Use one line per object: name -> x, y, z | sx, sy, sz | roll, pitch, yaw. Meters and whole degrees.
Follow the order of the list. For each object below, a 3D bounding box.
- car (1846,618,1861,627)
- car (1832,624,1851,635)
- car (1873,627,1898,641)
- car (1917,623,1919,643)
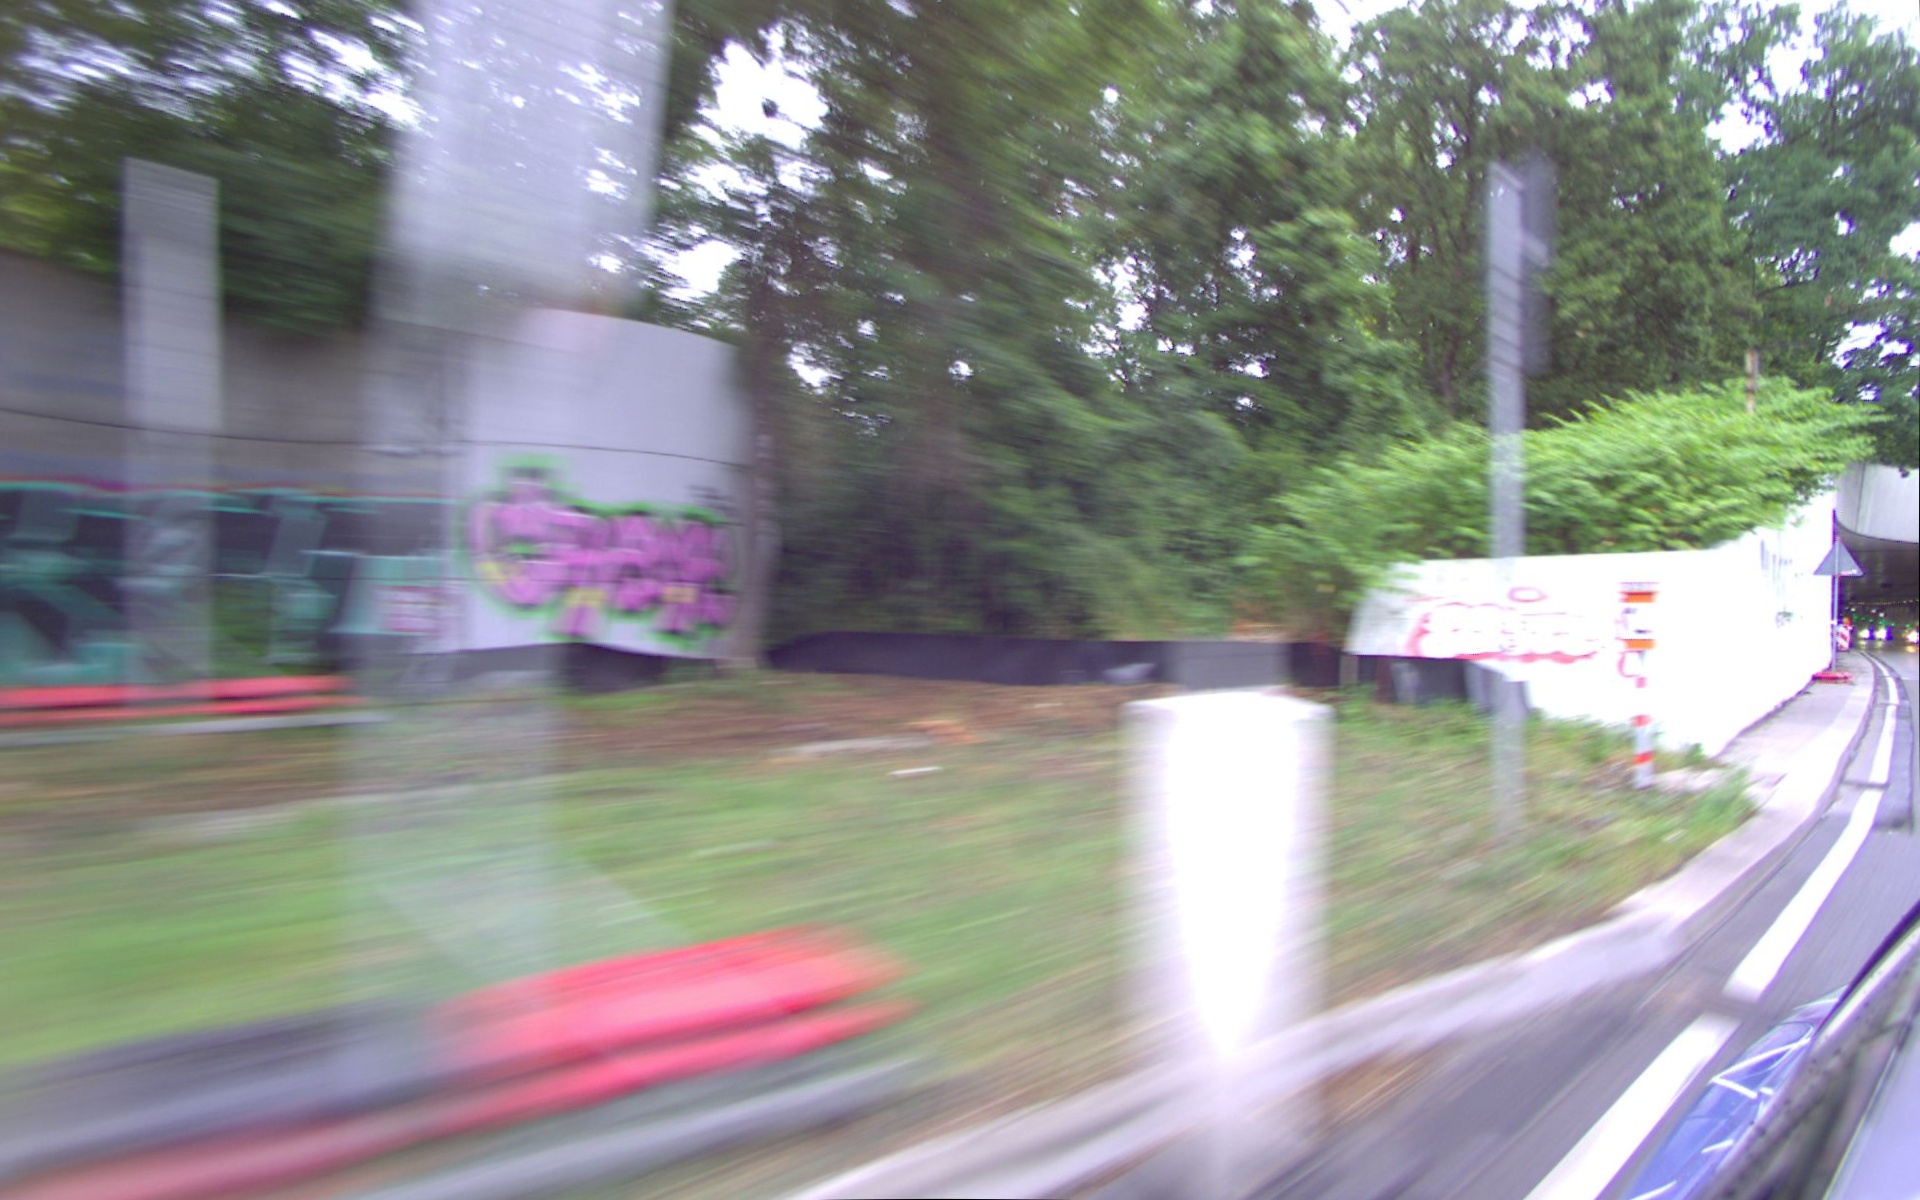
car -> 147.570, 3.735, 167.137 | 1.690, 1.324, 3.772 | 1, 1, 38
car -> 118.311, 3.968, 135.822 | 1.690, 1.324, 3.772 | 1, 1, 38
car -> 101.590, 3.702, 111.117 | 1.953, 1.324, 3.768 | 1, 1, 41
car -> 71.576, 2.476, 74.251 | 1.691, 1.418, 3.771 | 1, 1, 39
